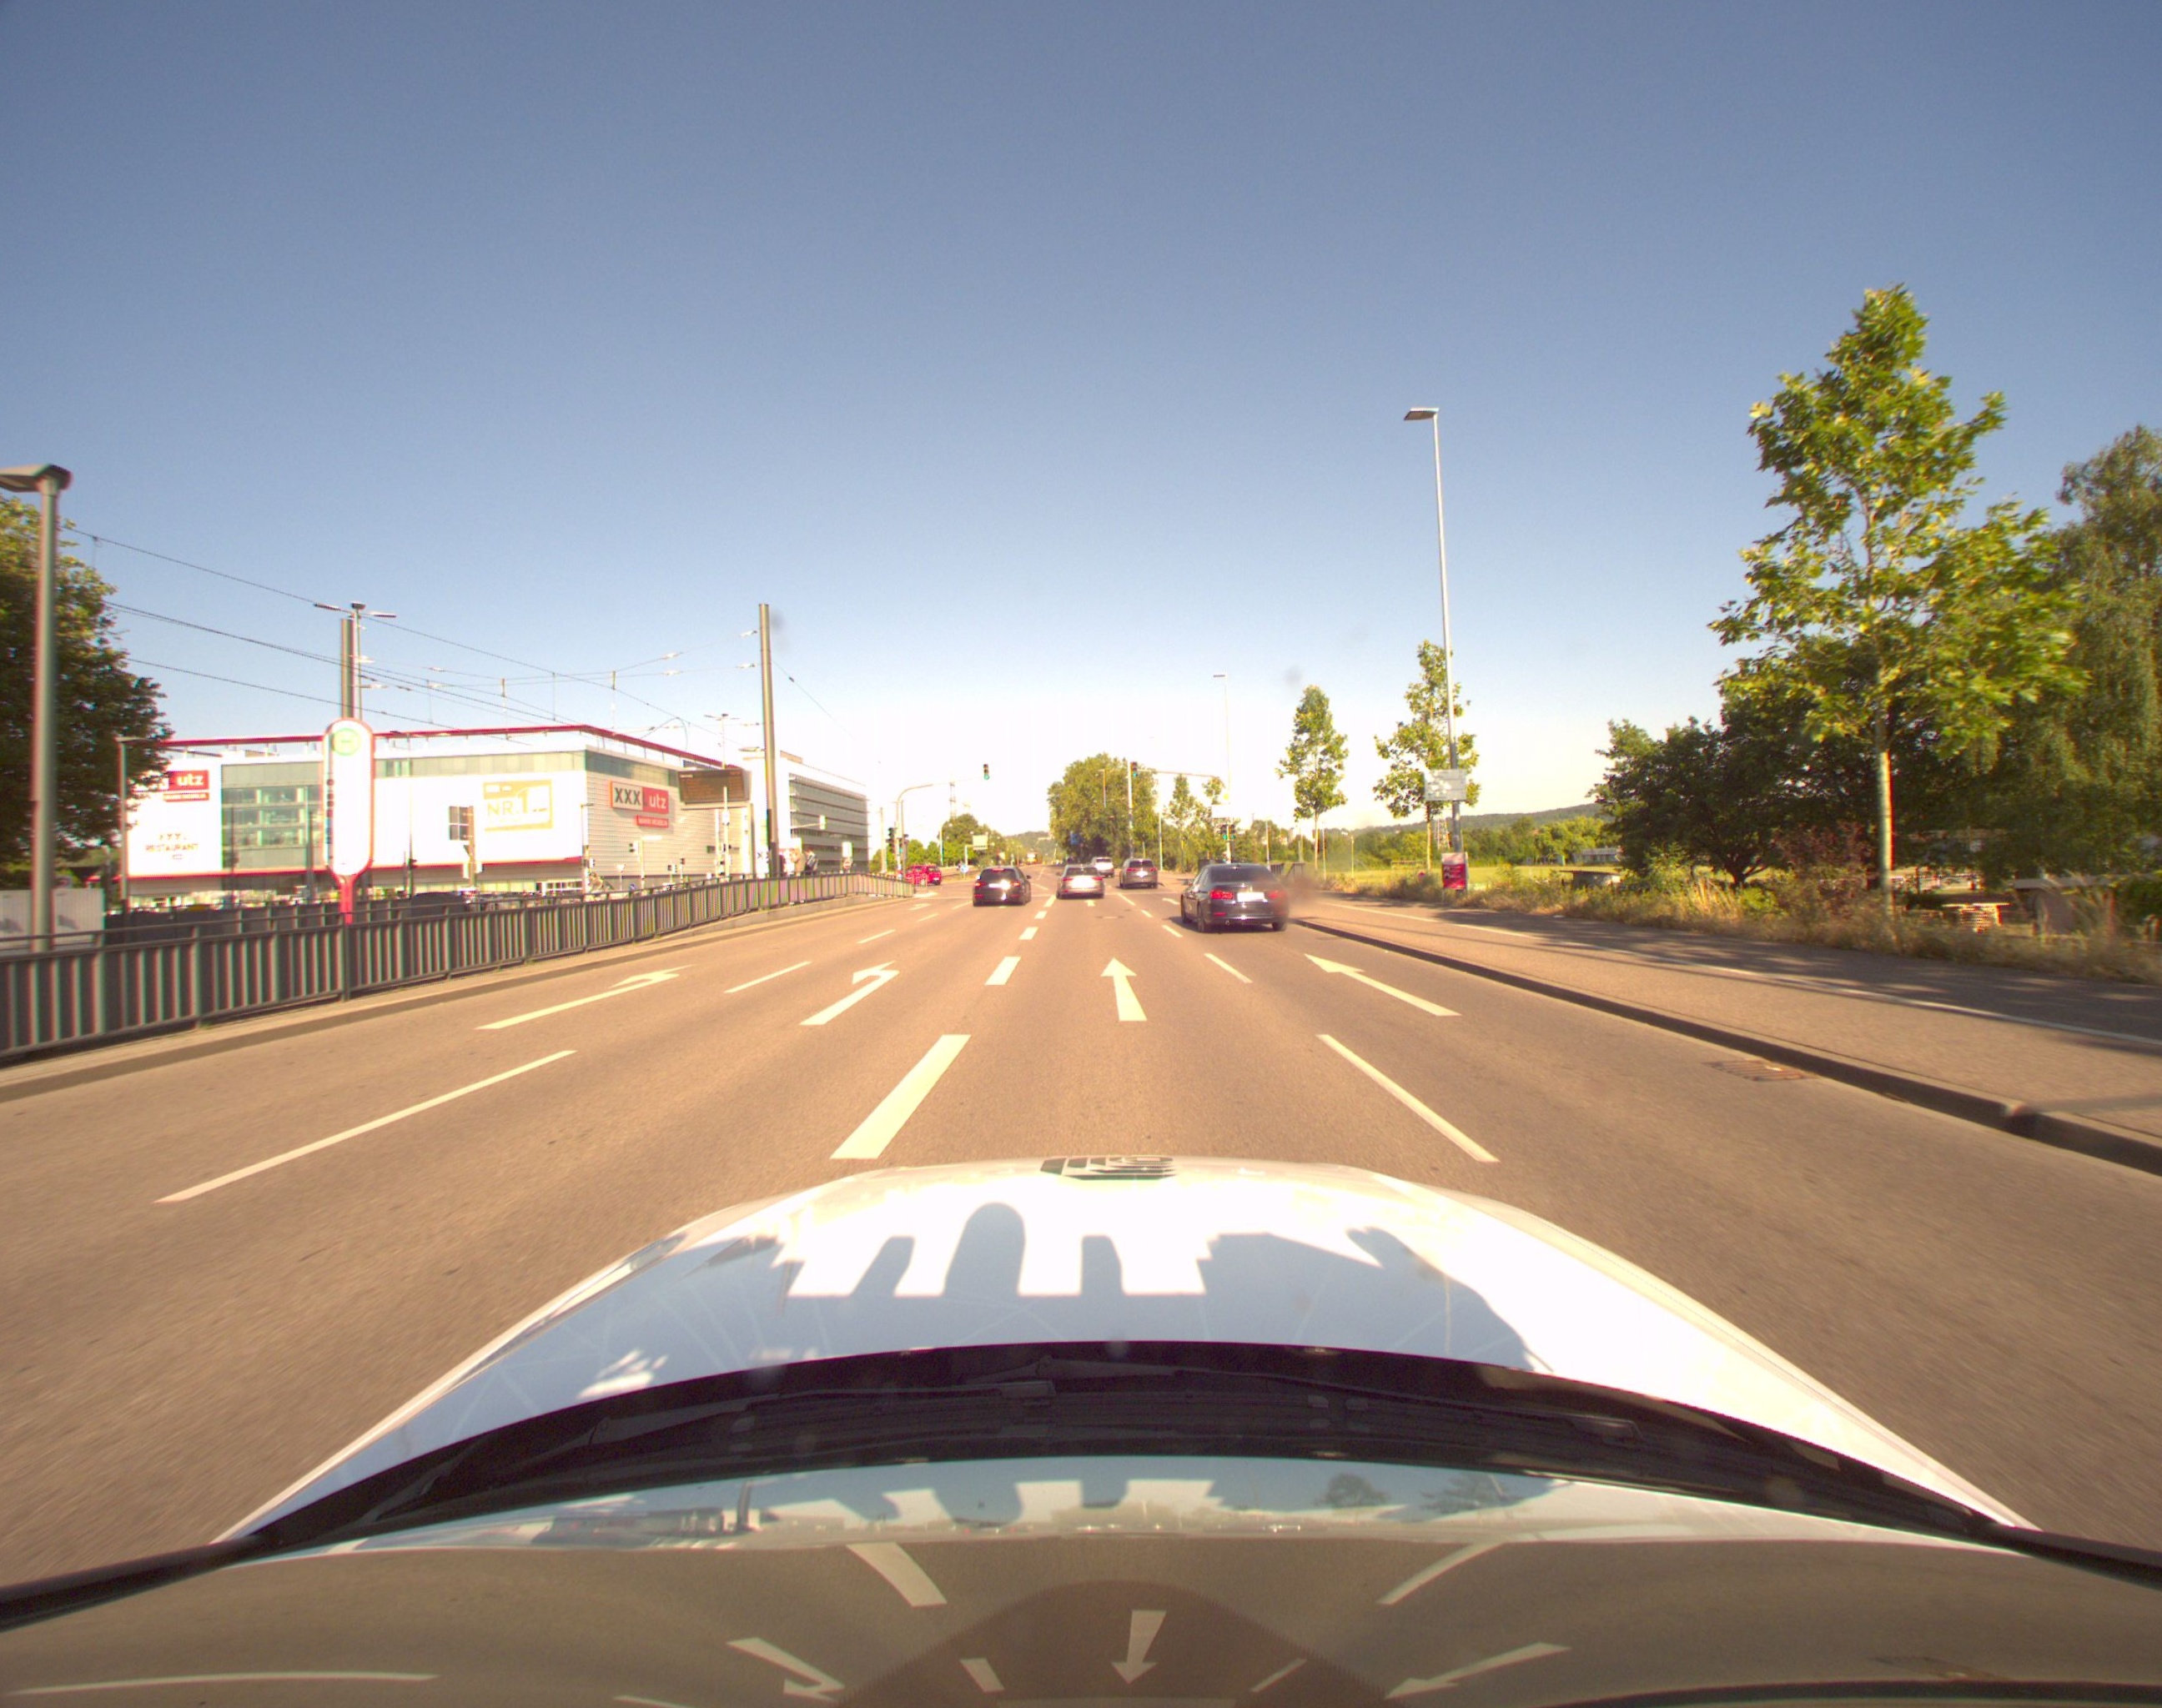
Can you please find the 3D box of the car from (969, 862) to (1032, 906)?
[{"bbox_3d":[-2.918,1.053,30.217,1.909,1.458,4.090,-1,-1,0],"label":"car"}]

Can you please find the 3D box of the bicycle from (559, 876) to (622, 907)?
[{"bbox_3d":[-21.310,1.642,35.420,2.289,1.218,0.706,-2,-2,-36],"label":"bicycle"}]

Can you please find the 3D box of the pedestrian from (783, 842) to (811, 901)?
[{"bbox_3d":[-8.320,0.518,23.884,0.532,1.693,0.760,0,-1,2],"label":"pedestrian"}]

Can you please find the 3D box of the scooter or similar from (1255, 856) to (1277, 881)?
[{"bbox_3d":[9.197,0.715,40.584,0.524,1.231,1.260,-2,-1,-14],"label":"scooter or similar"}]

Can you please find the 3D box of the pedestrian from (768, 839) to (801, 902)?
[{"bbox_3d":[-8.430,0.467,23.165,0.703,1.775,0.536,0,-1,4],"label":"pedestrian"}]

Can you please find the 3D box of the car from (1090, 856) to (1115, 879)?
[{"bbox_3d":[1.743,1.089,67.647,1.878,1.796,3.997,0,0,-2],"label":"car"}]

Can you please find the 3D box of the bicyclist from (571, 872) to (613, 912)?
[{"bbox_3d":[-21.277,1.643,35.433,1.493,1.617,0.813,-2,-2,-36],"label":"bicyclist"}]

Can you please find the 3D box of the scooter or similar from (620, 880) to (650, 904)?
[{"bbox_3d":[-19.937,1.711,36.381,1.071,1.015,0.780,-2,-2,-36],"label":"scooter or similar"}]

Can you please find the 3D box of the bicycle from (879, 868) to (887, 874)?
[{"bbox_3d":[-33.553,2.889,138.026,0.701,1.073,2.031,0,0,6],"label":"bicycle"}]

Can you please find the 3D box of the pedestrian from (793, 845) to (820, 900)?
[{"bbox_3d":[-8.356,0.558,24.826,0.532,1.657,0.751,0,-1,2],"label":"pedestrian"}]

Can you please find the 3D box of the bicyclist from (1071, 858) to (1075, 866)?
[{"bbox_3d":[-1.394,1.422,148.539,0.683,1.509,0.890,-2,0,-1],"label":"bicyclist"}]

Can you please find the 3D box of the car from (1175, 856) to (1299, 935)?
[{"bbox_3d":[3.287,0.804,18.078,1.860,1.467,4.585,-2,0,0],"label":"car"}]

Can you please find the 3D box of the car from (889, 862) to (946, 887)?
[{"bbox_3d":[-11.547,1.437,57.506,3.540,1.460,1.782,-5,-1,29],"label":"car"}]

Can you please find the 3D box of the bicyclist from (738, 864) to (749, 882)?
[{"bbox_3d":[-28.817,1.612,69.480,0.585,1.522,0.752,-1,0,4],"label":"bicyclist"}]

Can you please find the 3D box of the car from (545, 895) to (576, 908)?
[{"bbox_3d":[-77.056,7.033,120.619,1.916,1.702,4.445,0,0,-2],"label":"car"}]

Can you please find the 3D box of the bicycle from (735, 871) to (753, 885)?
[{"bbox_3d":[-28.797,2.056,69.662,0.585,1.168,1.994,-1,0,4],"label":"bicycle"}]

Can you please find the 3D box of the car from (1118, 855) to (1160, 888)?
[{"bbox_3d":[3.097,0.883,44.200,1.839,1.661,4.437,-1,0,-1],"label":"car"}]

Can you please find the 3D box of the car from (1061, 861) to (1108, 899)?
[{"bbox_3d":[0.080,1.042,34.803,1.860,1.467,4.663,-1,0,-1],"label":"car"}]

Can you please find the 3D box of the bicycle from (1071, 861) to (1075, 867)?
[{"bbox_3d":[-1.388,1.874,148.622,0.620,1.120,1.812,-3,0,-1],"label":"bicycle"}]

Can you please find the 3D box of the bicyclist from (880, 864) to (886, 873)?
[{"bbox_3d":[-33.550,2.474,138.016,0.701,1.512,0.972,0,0,6],"label":"bicyclist"}]
